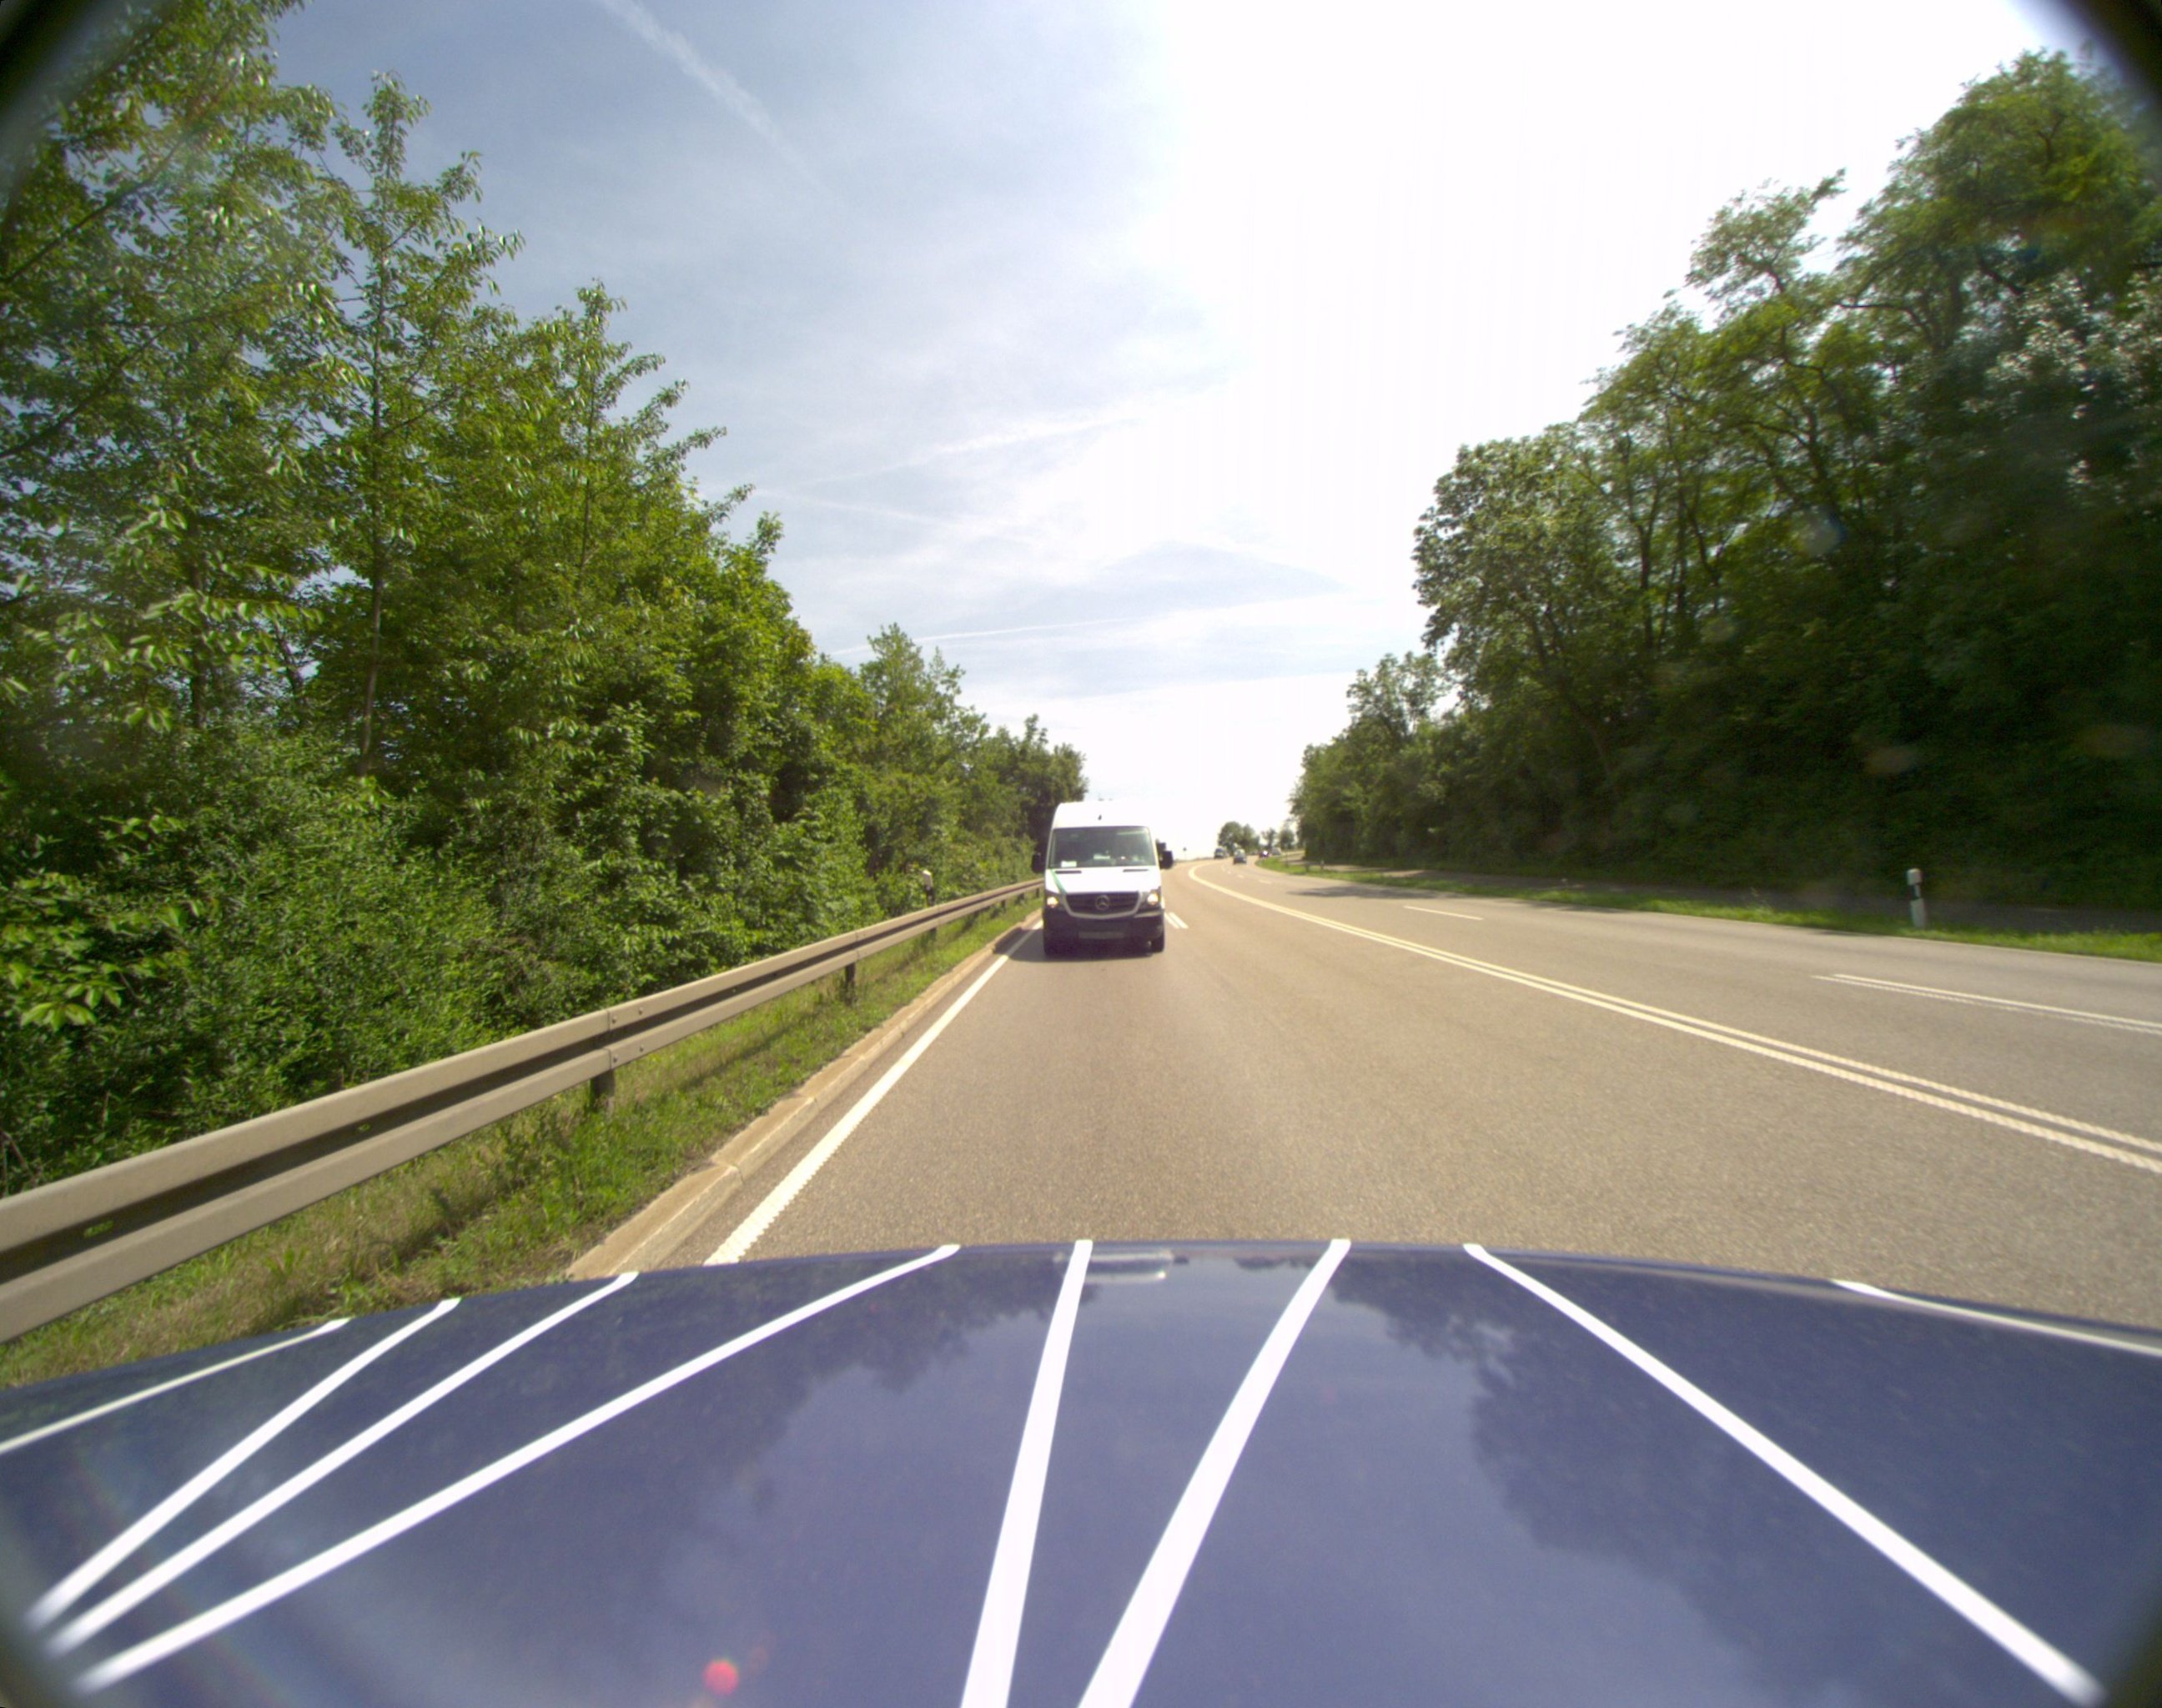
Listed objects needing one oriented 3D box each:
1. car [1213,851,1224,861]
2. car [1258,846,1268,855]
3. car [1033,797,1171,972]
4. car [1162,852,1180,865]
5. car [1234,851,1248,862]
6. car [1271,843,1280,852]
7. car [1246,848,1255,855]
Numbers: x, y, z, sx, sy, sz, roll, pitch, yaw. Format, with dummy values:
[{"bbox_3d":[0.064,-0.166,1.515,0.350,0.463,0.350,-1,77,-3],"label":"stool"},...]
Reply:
[{"bbox_3d":[30.505,0.425,168.174,1.996,2.002,4.005,-2,0,16],"label":"car"},{"bbox_3d":[38.719,-0.778,161.418,1.996,1.665,4.003,-2,1,14],"label":"car"},{"bbox_3d":[0.372,0.442,13.522,1.958,2.502,5.267,0,0,2],"label":"car"},{"bbox_3d":[12.877,0.587,108.525,1.997,1.718,4.003,-2,1,13],"label":"car"},{"bbox_3d":[21.908,0.292,104.026,1.806,1.379,3.874,-2,0,12],"label":"car"},{"bbox_3d":[47.755,-1.606,186.516,1.815,2.002,3.874,-2,1,15],"label":"car"},{"bbox_3d":[46.459,-0.686,208.482,1.763,1.849,3.815,-1,1,22],"label":"car"}]
